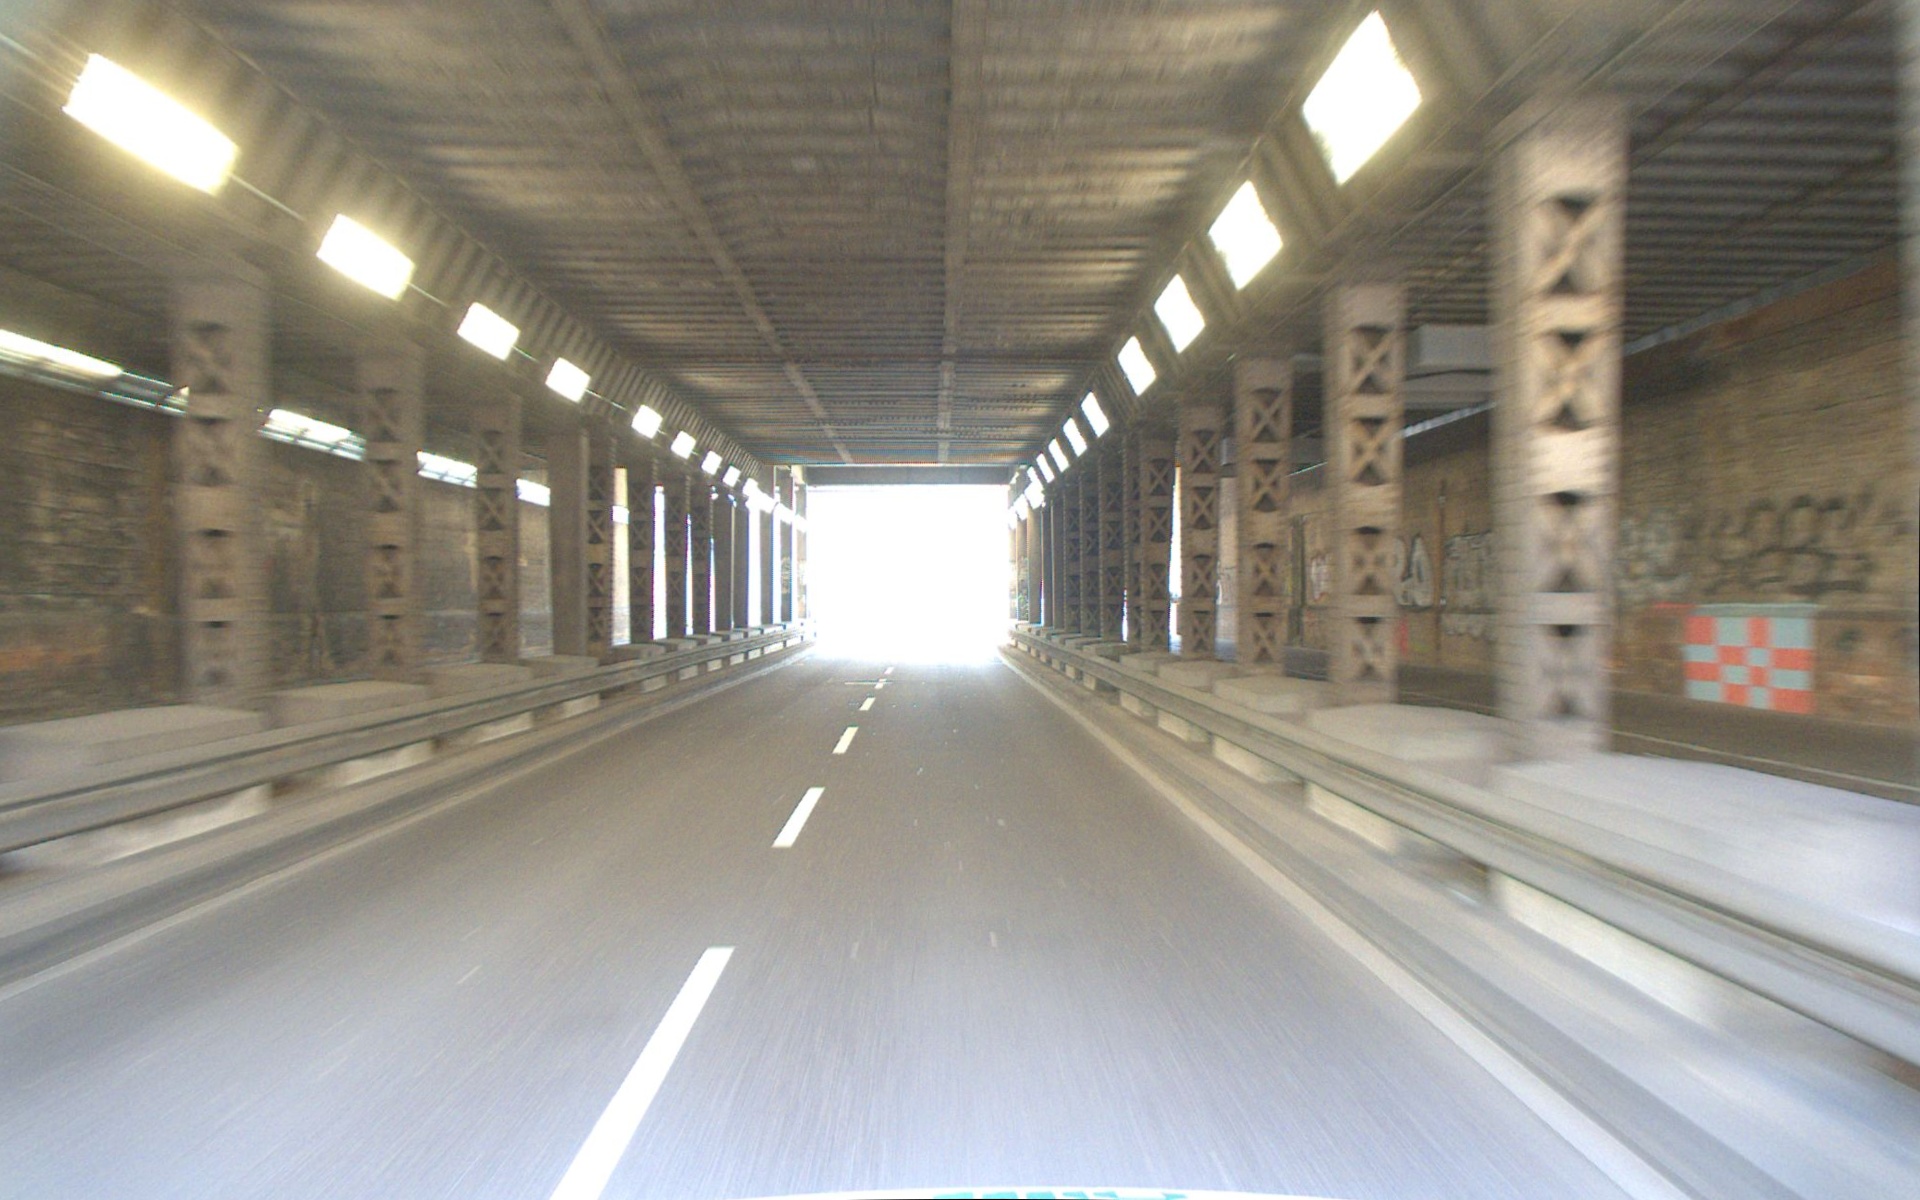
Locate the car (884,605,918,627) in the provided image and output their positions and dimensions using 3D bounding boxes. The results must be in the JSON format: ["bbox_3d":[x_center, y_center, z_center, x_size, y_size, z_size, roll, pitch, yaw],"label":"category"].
[{"bbox_3d":[-4.018,1.064,113.441,1.715,1.429,4.418,0,0,6],"label":"car"}]

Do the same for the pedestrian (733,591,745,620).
[{"bbox_3d":[-12.485,0.321,93.593,0.507,1.669,0.620,0,-1,-28],"label":"pedestrian"}]

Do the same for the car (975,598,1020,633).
[{"bbox_3d":[1.657,0.676,74.392,1.908,1.555,4.089,0,0,-1],"label":"car"}]

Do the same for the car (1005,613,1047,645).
[{"bbox_3d":[3.308,1.439,83.715,1.697,1.527,3.997,0,0,-4],"label":"car"}]

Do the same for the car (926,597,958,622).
[{"bbox_3d":[-1.006,0.539,93.847,1.750,1.418,4.105,0,0,0],"label":"car"}]
